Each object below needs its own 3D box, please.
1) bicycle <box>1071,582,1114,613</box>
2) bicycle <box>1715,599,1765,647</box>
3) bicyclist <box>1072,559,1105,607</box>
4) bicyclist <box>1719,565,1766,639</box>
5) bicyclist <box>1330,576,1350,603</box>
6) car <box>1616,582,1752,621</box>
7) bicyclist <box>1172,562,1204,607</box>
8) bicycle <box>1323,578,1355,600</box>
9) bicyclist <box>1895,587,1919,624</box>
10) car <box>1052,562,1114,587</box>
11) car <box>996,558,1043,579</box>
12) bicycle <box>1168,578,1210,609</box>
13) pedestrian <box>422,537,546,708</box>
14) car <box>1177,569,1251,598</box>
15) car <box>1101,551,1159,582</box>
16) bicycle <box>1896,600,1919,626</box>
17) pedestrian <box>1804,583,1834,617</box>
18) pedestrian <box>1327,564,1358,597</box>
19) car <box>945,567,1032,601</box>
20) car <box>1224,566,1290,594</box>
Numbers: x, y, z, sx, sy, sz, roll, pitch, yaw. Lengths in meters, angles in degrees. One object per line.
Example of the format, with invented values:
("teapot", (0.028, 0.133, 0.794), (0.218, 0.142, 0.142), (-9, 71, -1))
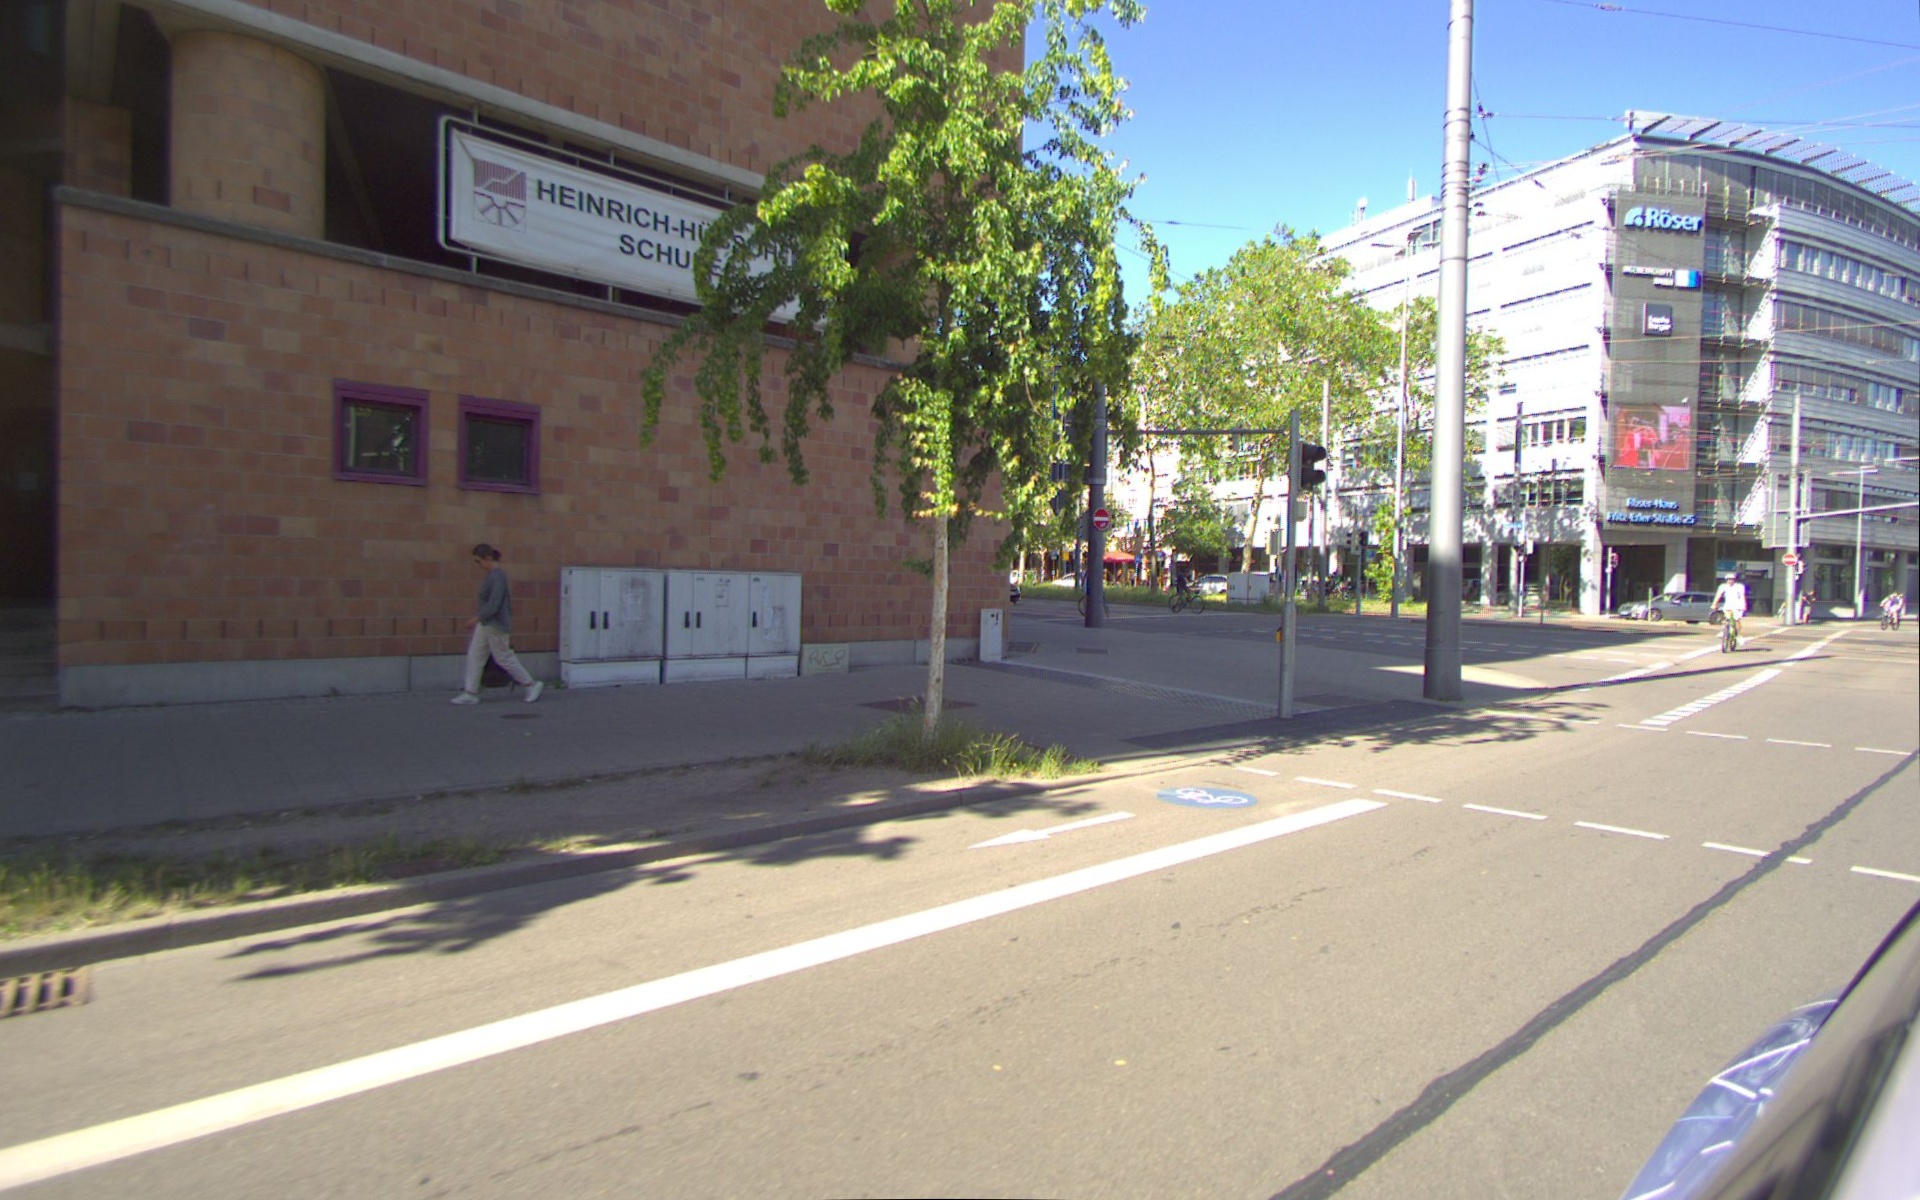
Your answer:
("bicycle", (4.665, -0.095, 35.736), (0.473, 1.040, 1.503), (1, 1, -45))
("bicycle", (18.684, 0.542, 24.241), (1.479, 1.110, 0.578), (0, 0, -37))
("bicyclist", (4.550, -0.607, 35.830), (0.894, 1.689, 0.674), (2, 2, 44))
("bicyclist", (18.768, 0.047, 24.270), (0.892, 1.750, 0.685), (0, -1, -37))
("bicyclist", (20.901, -0.590, 55.652), (0.759, 1.426, 0.744), (3, 2, 44))
("car", (33.314, 0.047, 46.662), (4.762, 1.577, 1.935), (1, 2, 3))
("bicyclist", (8.796, -0.595, 39.047), (0.934, 1.689, 0.674), (2, 2, 44))
("bicycle", (20.862, -0.588, 55.735), (1.537, 1.161, 0.474), (3, 2, 43))
("bicyclist", (42.536, 0.222, 45.354), (0.747, 1.637, 0.756), (0, -1, -34))
("car", (8.735, -1.845, 72.262), (1.900, 1.666, 4.249), (0, 2, -38))
("car", (5.025, -2.696, 86.039), (1.897, 1.666, 4.256), (0, 2, -31))
("bicycle", (8.817, -0.255, 38.997), (0.473, 1.161, 1.538), (1, 1, -45))
("pedestrian", (-4.859, 0.198, 10.330), (0.960, 1.639, 0.789), (0, 2, -41))
("car", (15.759, -1.034, 62.960), (1.899, 1.666, 4.252), (0, 2, -35))
("car", (12.756, -2.552, 76.087), (1.897, 2.263, 4.255), (0, 2, -31))
("bicycle", (42.610, 0.574, 45.386), (1.478, 1.110, 0.579), (0, 0, -33))
("pedestrian", (44.132, 0.020, 52.006), (0.784, 1.708, 0.862), (1, 2, -26))
("pedestrian", (24.123, -1.223, 63.804), (1.437, 2.038, 1.185), (0, 2, -32))
("car", (1.216, -0.747, 45.445), (1.786, 1.377, 4.298), (0, 2, -33))
("car", (19.376, -1.343, 66.168), (1.781, 1.698, 3.935), (0, 2, -31))
